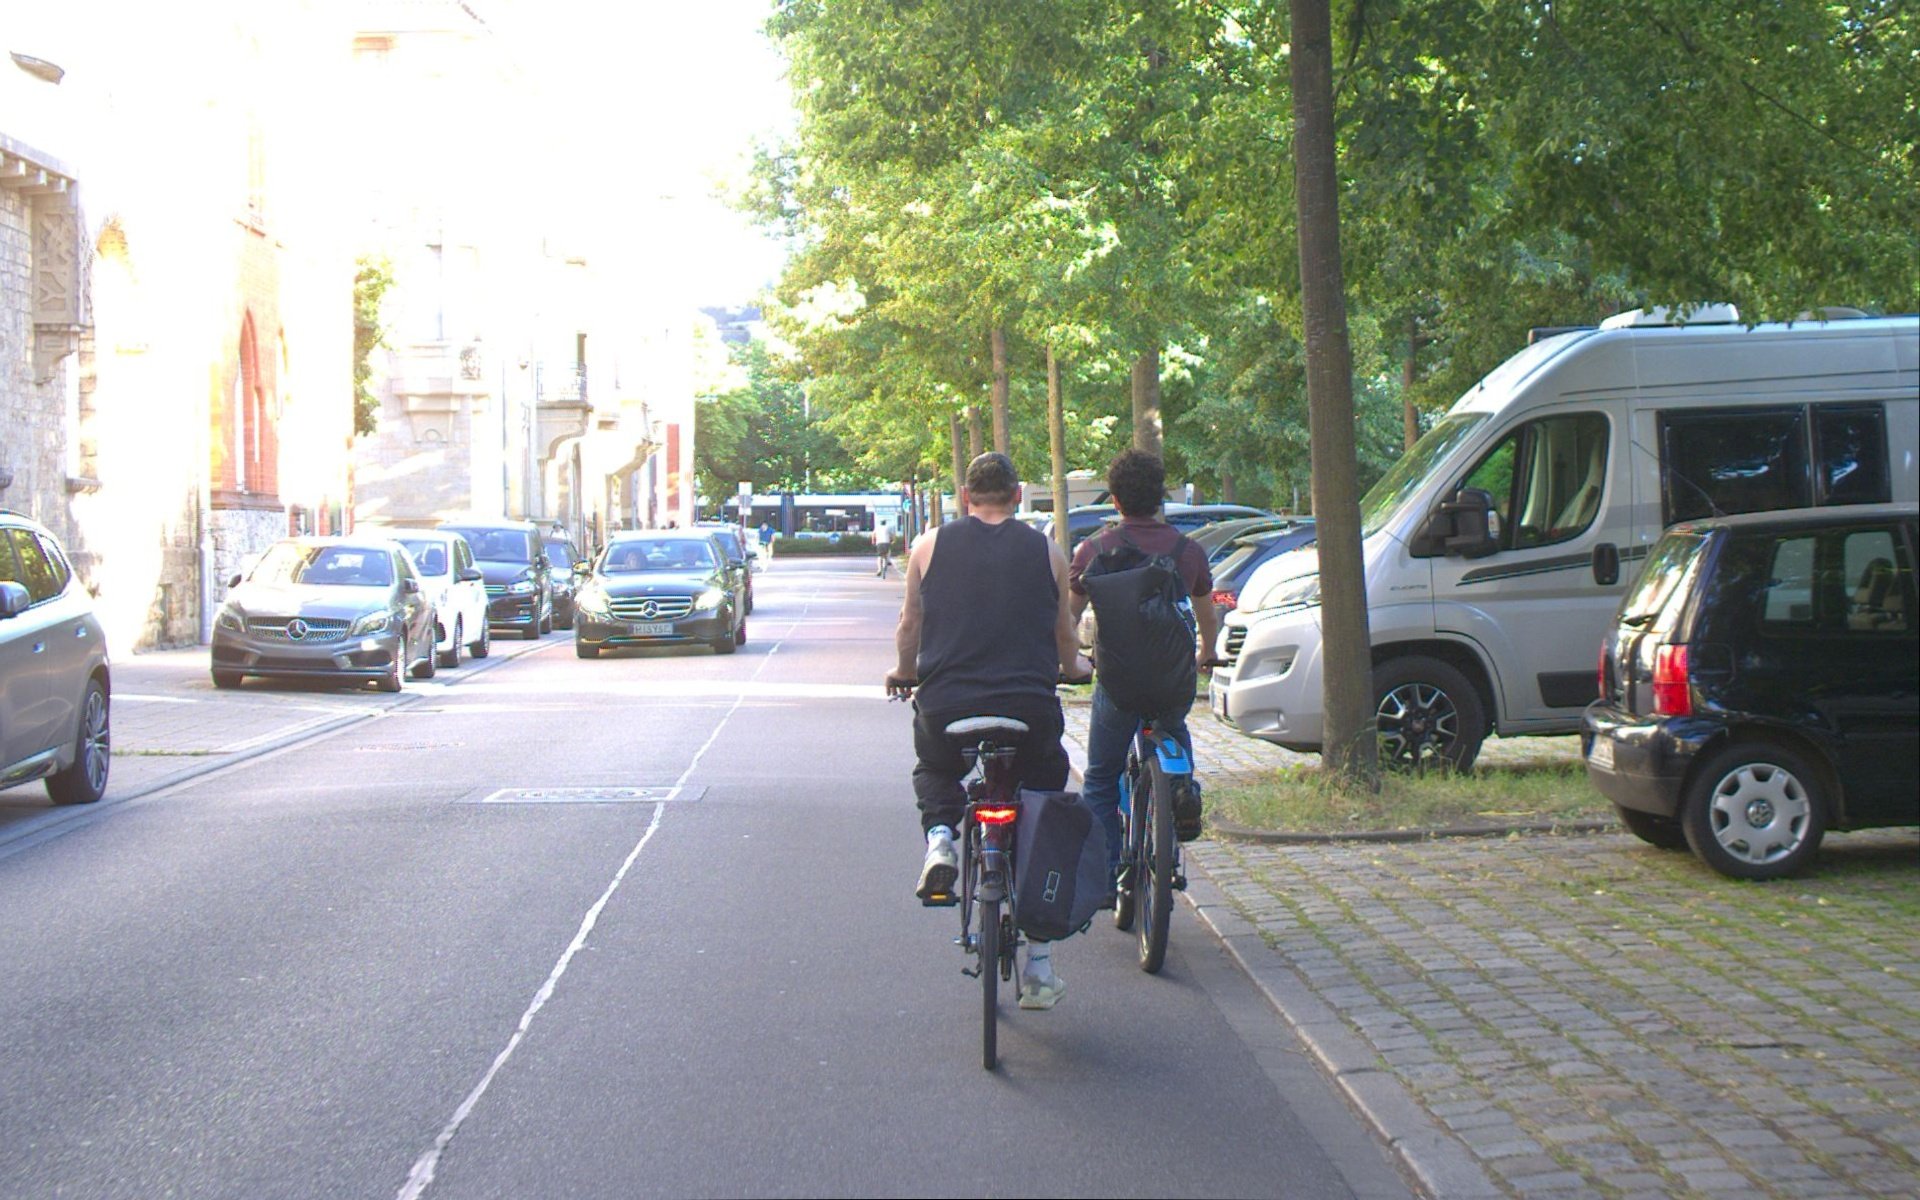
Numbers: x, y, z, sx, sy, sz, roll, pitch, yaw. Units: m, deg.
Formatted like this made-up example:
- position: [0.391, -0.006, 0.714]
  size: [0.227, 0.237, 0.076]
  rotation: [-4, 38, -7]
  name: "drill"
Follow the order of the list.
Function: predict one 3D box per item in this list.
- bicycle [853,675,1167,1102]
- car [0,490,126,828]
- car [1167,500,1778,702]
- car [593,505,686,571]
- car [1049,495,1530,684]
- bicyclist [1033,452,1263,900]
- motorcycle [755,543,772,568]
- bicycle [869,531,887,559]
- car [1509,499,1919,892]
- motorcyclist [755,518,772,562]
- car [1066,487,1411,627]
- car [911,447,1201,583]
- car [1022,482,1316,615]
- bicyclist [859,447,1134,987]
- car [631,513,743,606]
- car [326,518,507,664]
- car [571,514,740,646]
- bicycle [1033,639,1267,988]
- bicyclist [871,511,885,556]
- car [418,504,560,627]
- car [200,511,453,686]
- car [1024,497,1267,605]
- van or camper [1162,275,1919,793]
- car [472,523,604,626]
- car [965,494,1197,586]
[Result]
- position: [0.103, 0.785, 10.087]
  size: [0.696, 1.069, 1.969]
  rotation: [0, 0, -6]
  name: "bicycle"
- position: [-5.692, 0.285, 17.526]
  size: [2.049, 1.616, 4.396]
  rotation: [0, 0, -4]
  name: "car"
- position: [3.947, -0.003, 27.021]
  size: [4.502, 1.448, 1.816]
  rotation: [-1, 0, 0]
  name: "car"
- position: [-7.494, -1.441, 80.734]
  size: [1.993, 1.481, 4.000]
  rotation: [0, 0, -3]
  name: "car"
- position: [3.061, -0.105, 32.486]
  size: [4.242, 1.600, 1.754]
  rotation: [-2, 0, -4]
  name: "car"
- position: [0.652, 0.256, 12.203]
  size: [0.718, 1.521, 0.972]
  rotation: [0, 0, -2]
  name: "bicyclist"
- position: [-6.510, -1.477, 113.832]
  size: [0.551, 0.798, 1.308]
  rotation: [-1, 1, -4]
  name: "motorcycle"
- position: [-2.492, -1.676, 104.325]
  size: [0.541, 0.825, 1.919]
  rotation: [0, 0, -1]
  name: "bicycle"
- position: [4.181, 0.327, 14.086]
  size: [3.500, 1.467, 1.752]
  rotation: [-2, 0, -2]
  name: "car"
- position: [-6.503, -2.004, 113.808]
  size: [0.551, 1.443, 0.688]
  rotation: [-1, 1, -4]
  name: "motorcyclist"
- position: [3.550, -0.550, 44.376]
  size: [4.243, 1.641, 1.855]
  rotation: [-2, 0, 0]
  name: "car"
- position: [2.459, -2.182, 89.095]
  size: [7.332, 3.271, 2.223]
  rotation: [-2, 0, 0]
  name: "car"
- position: [3.110, -0.766, 51.777]
  size: [4.243, 1.833, 1.855]
  rotation: [-2, 0, 0]
  name: "car"
- position: [0.090, 0.327, 10.215]
  size: [0.706, 1.521, 0.972]
  rotation: [0, 0, -6]
  name: "bicyclist"
- position: [-4.816, -0.750, 61.175]
  size: [1.767, 1.594, 4.090]
  rotation: [-1, 1, -2]
  name: "car"
- position: [-6.162, -0.123, 39.315]
  size: [1.491, 1.512, 3.775]
  rotation: [3, 1, -2]
  name: "car"
- position: [-3.629, -0.236, 41.249]
  size: [1.896, 1.481, 4.382]
  rotation: [0, 0, -5]
  name: "car"
- position: [0.643, 0.708, 12.209]
  size: [0.555, 1.069, 1.969]
  rotation: [0, 1, -5]
  name: "bicycle"
- position: [-2.476, -2.024, 104.362]
  size: [0.417, 1.346, 0.430]
  rotation: [0, 0, -1]
  name: "bicyclist"
- position: [-6.602, -0.477, 48.522]
  size: [1.630, 1.660, 3.969]
  rotation: [0, 0, -3]
  name: "car"
- position: [-6.130, -0.041, 33.676]
  size: [1.755, 1.512, 4.115]
  rotation: [3, 1, -2]
  name: "car"
- position: [3.328, -0.875, 62.298]
  size: [4.243, 1.791, 1.855]
  rotation: [-2, 0, 0]
  name: "car"
- position: [4.082, -0.400, 19.136]
  size: [5.573, 2.528, 2.269]
  rotation: [-3, 0, -3]
  name: "van or camper"
- position: [-6.582, -0.411, 53.973]
  size: [1.615, 1.477, 4.019]
  rotation: [3, 1, -2]
  name: "car"
- position: [2.520, -1.256, 72.393]
  size: [4.757, 1.773, 1.855]
  rotation: [-2, 0, 0]
  name: "car"
